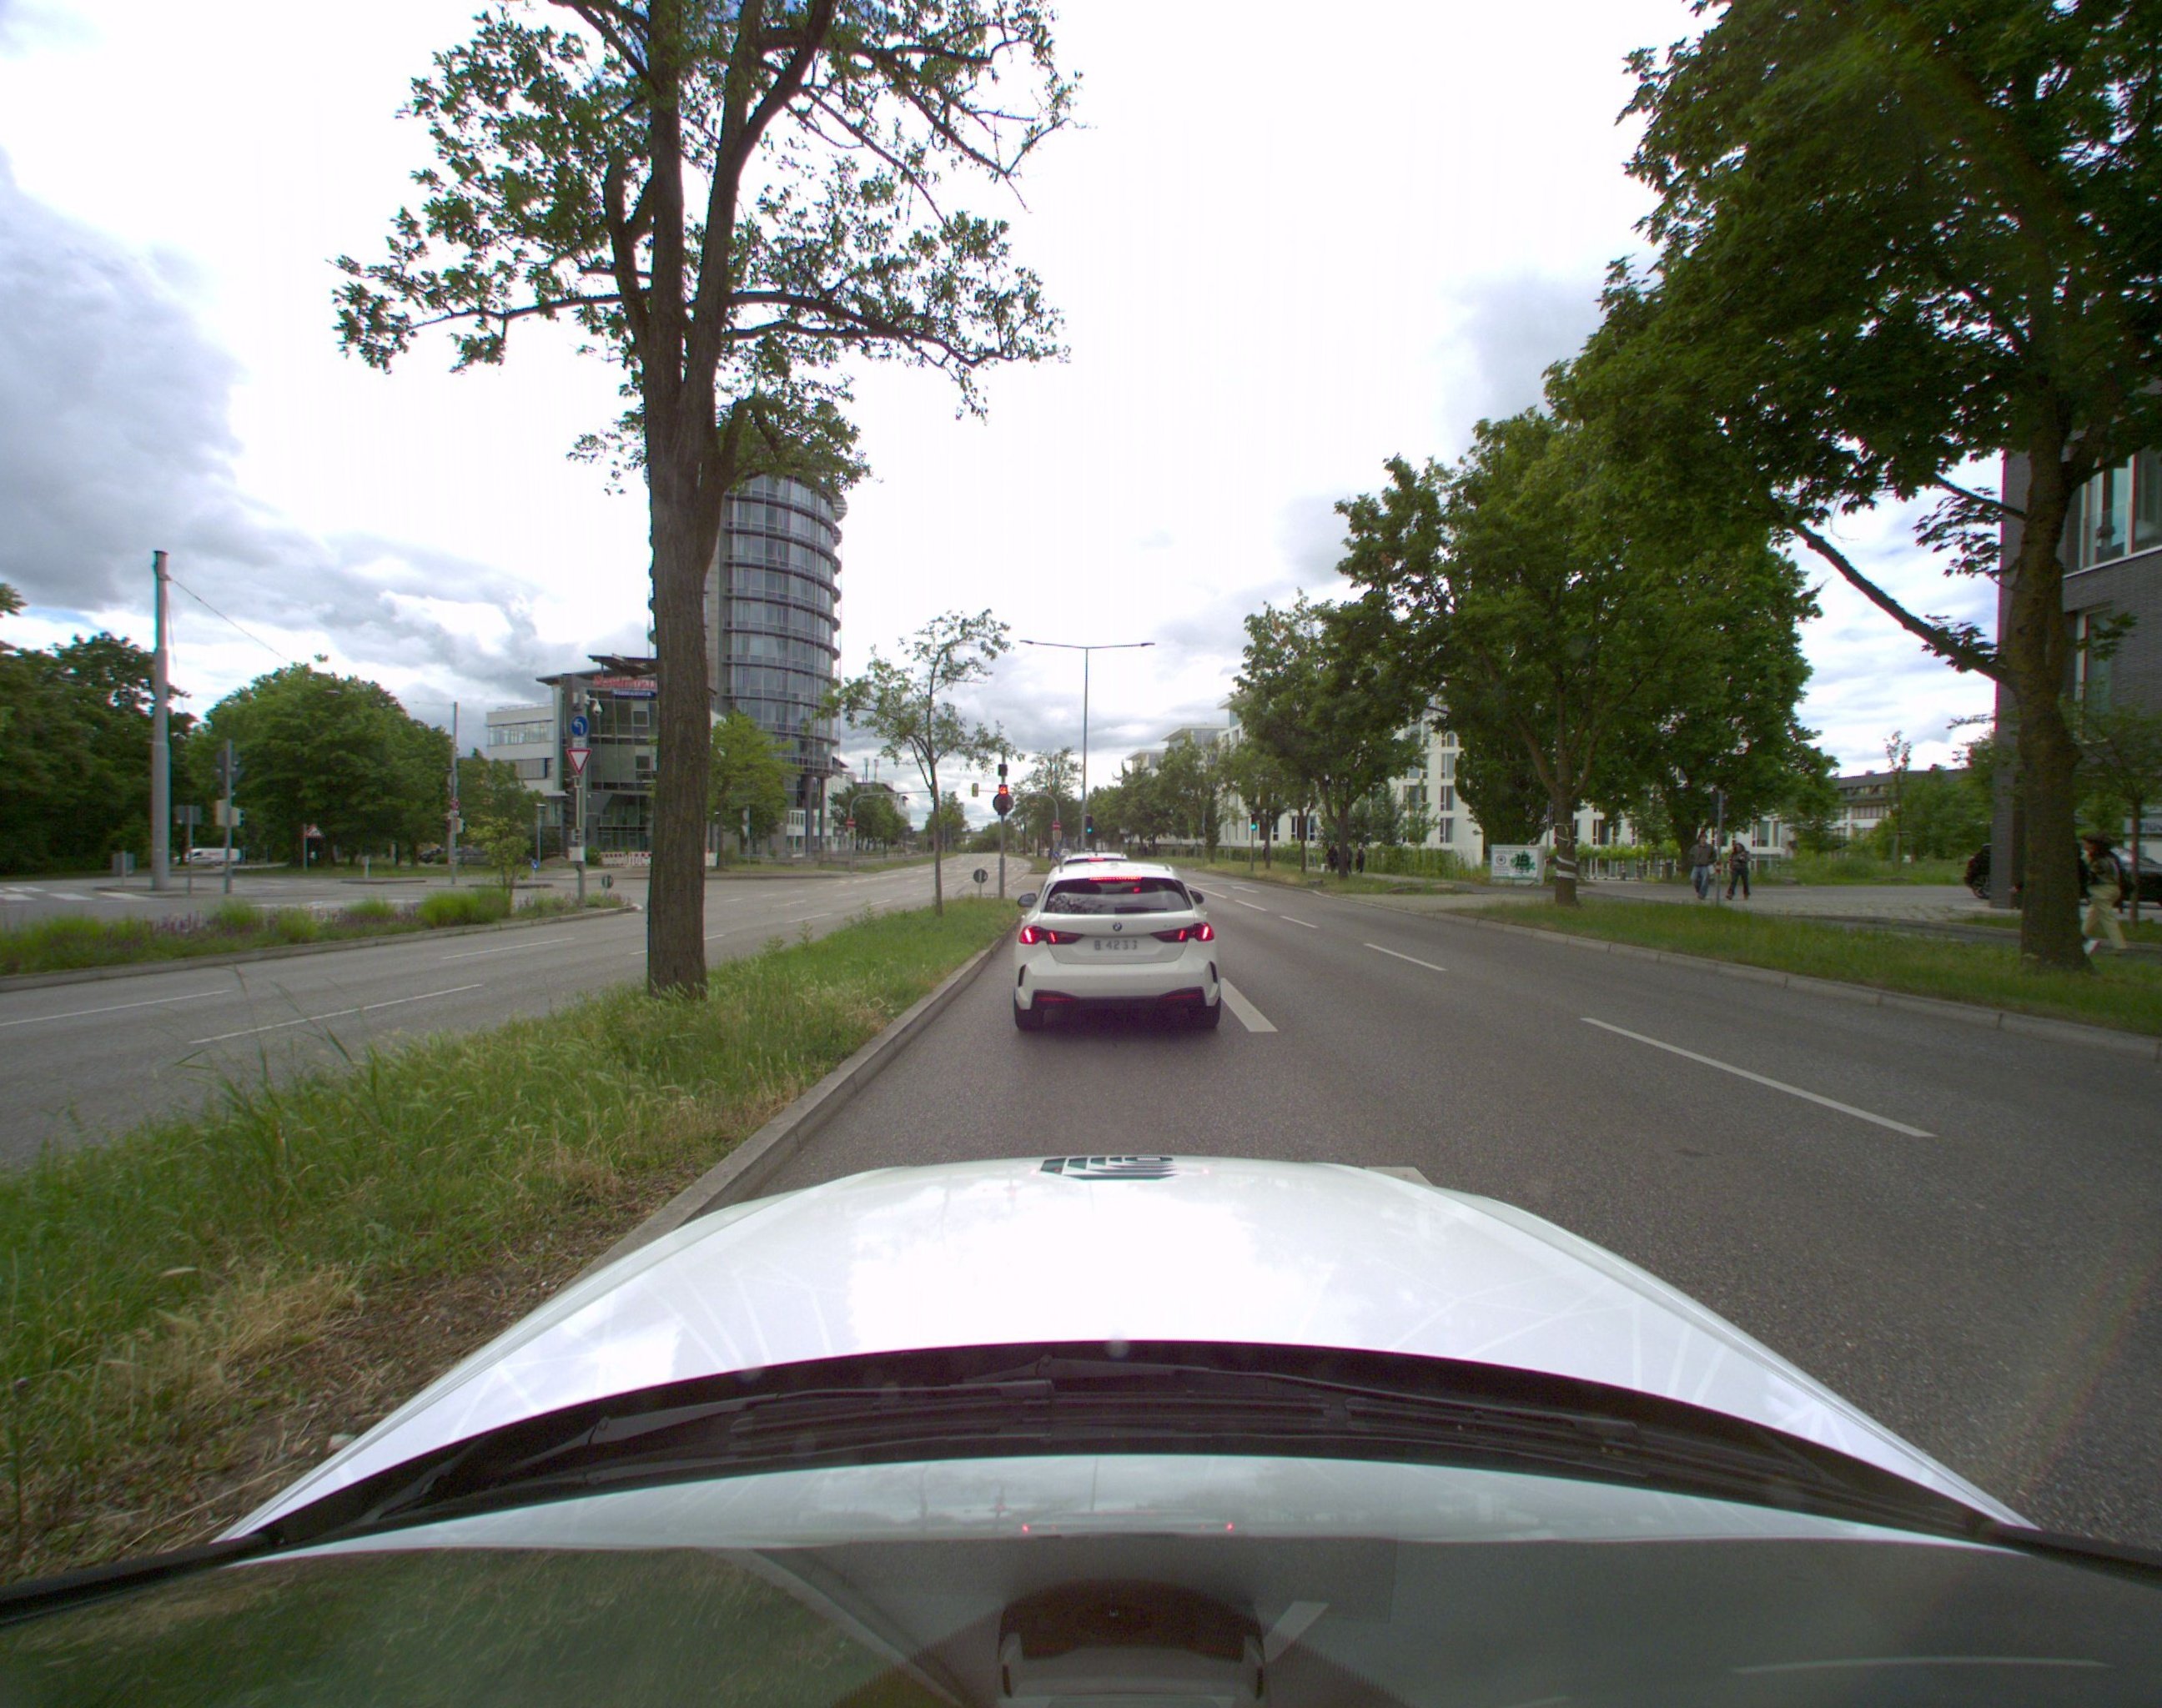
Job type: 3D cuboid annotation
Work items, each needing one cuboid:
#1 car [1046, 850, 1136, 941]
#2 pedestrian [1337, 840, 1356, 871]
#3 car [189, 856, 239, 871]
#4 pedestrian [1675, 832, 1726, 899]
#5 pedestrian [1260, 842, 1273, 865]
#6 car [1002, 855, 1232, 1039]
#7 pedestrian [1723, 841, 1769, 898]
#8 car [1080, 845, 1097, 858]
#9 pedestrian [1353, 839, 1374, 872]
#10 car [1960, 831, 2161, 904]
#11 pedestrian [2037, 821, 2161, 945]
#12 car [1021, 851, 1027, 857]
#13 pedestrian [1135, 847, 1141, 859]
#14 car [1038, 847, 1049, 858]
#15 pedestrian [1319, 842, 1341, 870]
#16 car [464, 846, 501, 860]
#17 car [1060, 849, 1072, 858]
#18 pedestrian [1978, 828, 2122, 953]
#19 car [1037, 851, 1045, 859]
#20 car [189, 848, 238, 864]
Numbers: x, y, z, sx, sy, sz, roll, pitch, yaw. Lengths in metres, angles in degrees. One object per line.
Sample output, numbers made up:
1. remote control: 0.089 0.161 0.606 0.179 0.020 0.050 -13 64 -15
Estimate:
1. car: 0.241 0.711 15.983 1.544 1.569 4.002 0 0 2
2. pedestrian: 13.738 0.097 42.098 0.697 1.595 0.883 0 -1 1
3. car: -125.023 1.371 117.473 1.978 2.034 4.570 0 0 16
4. pedestrian: 17.660 0.323 23.219 0.983 1.868 0.952 0 0 -38
5. pedestrian: 13.042 -0.043 57.363 0.739 1.574 0.674 0 -1 0
6. car: 0.348 0.739 8.456 1.815 1.438 4.002 0 0 2
7. pedestrian: 18.572 0.425 22.743 0.880 1.557 0.825 0 0 -38
8. car: 0.951 -0.298 107.524 1.989 1.670 3.996 -2 0 -2
9. pedestrian: 14.579 0.091 42.064 0.764 1.685 0.883 0 -1 1
10. car: 24.890 0.295 20.232 1.749 1.646 4.151 0 0 2
11. pedestrian: 14.310 0.384 11.402 0.774 1.660 0.954 0 0 7
12. car: -14.627 -0.044 209.258 1.597 1.666 3.997 0 0 -2
13. pedestrian: 9.263 -0.187 132.307 0.763 2.013 0.751 0 0 -13
14. car: -6.173 -0.228 134.881 1.692 1.717 3.993 0 -1 -4
15. pedestrian: 12.979 0.106 42.436 0.786 1.448 1.112 0 -1 1
16. car: -37.367 -0.064 50.884 0.766 0.876 1.730 0 0 38
17. car: -2.588 -0.050 140.467 1.690 1.486 3.685 0 0 -6
18. pedestrian: 13.554 0.487 11.435 0.791 1.660 1.061 0 0 7
19. car: -9.154 0.212 187.212 1.734 1.666 3.997 0 0 -2
20. car: -128.978 0.251 121.182 1.978 2.339 4.570 -1 -1 16
